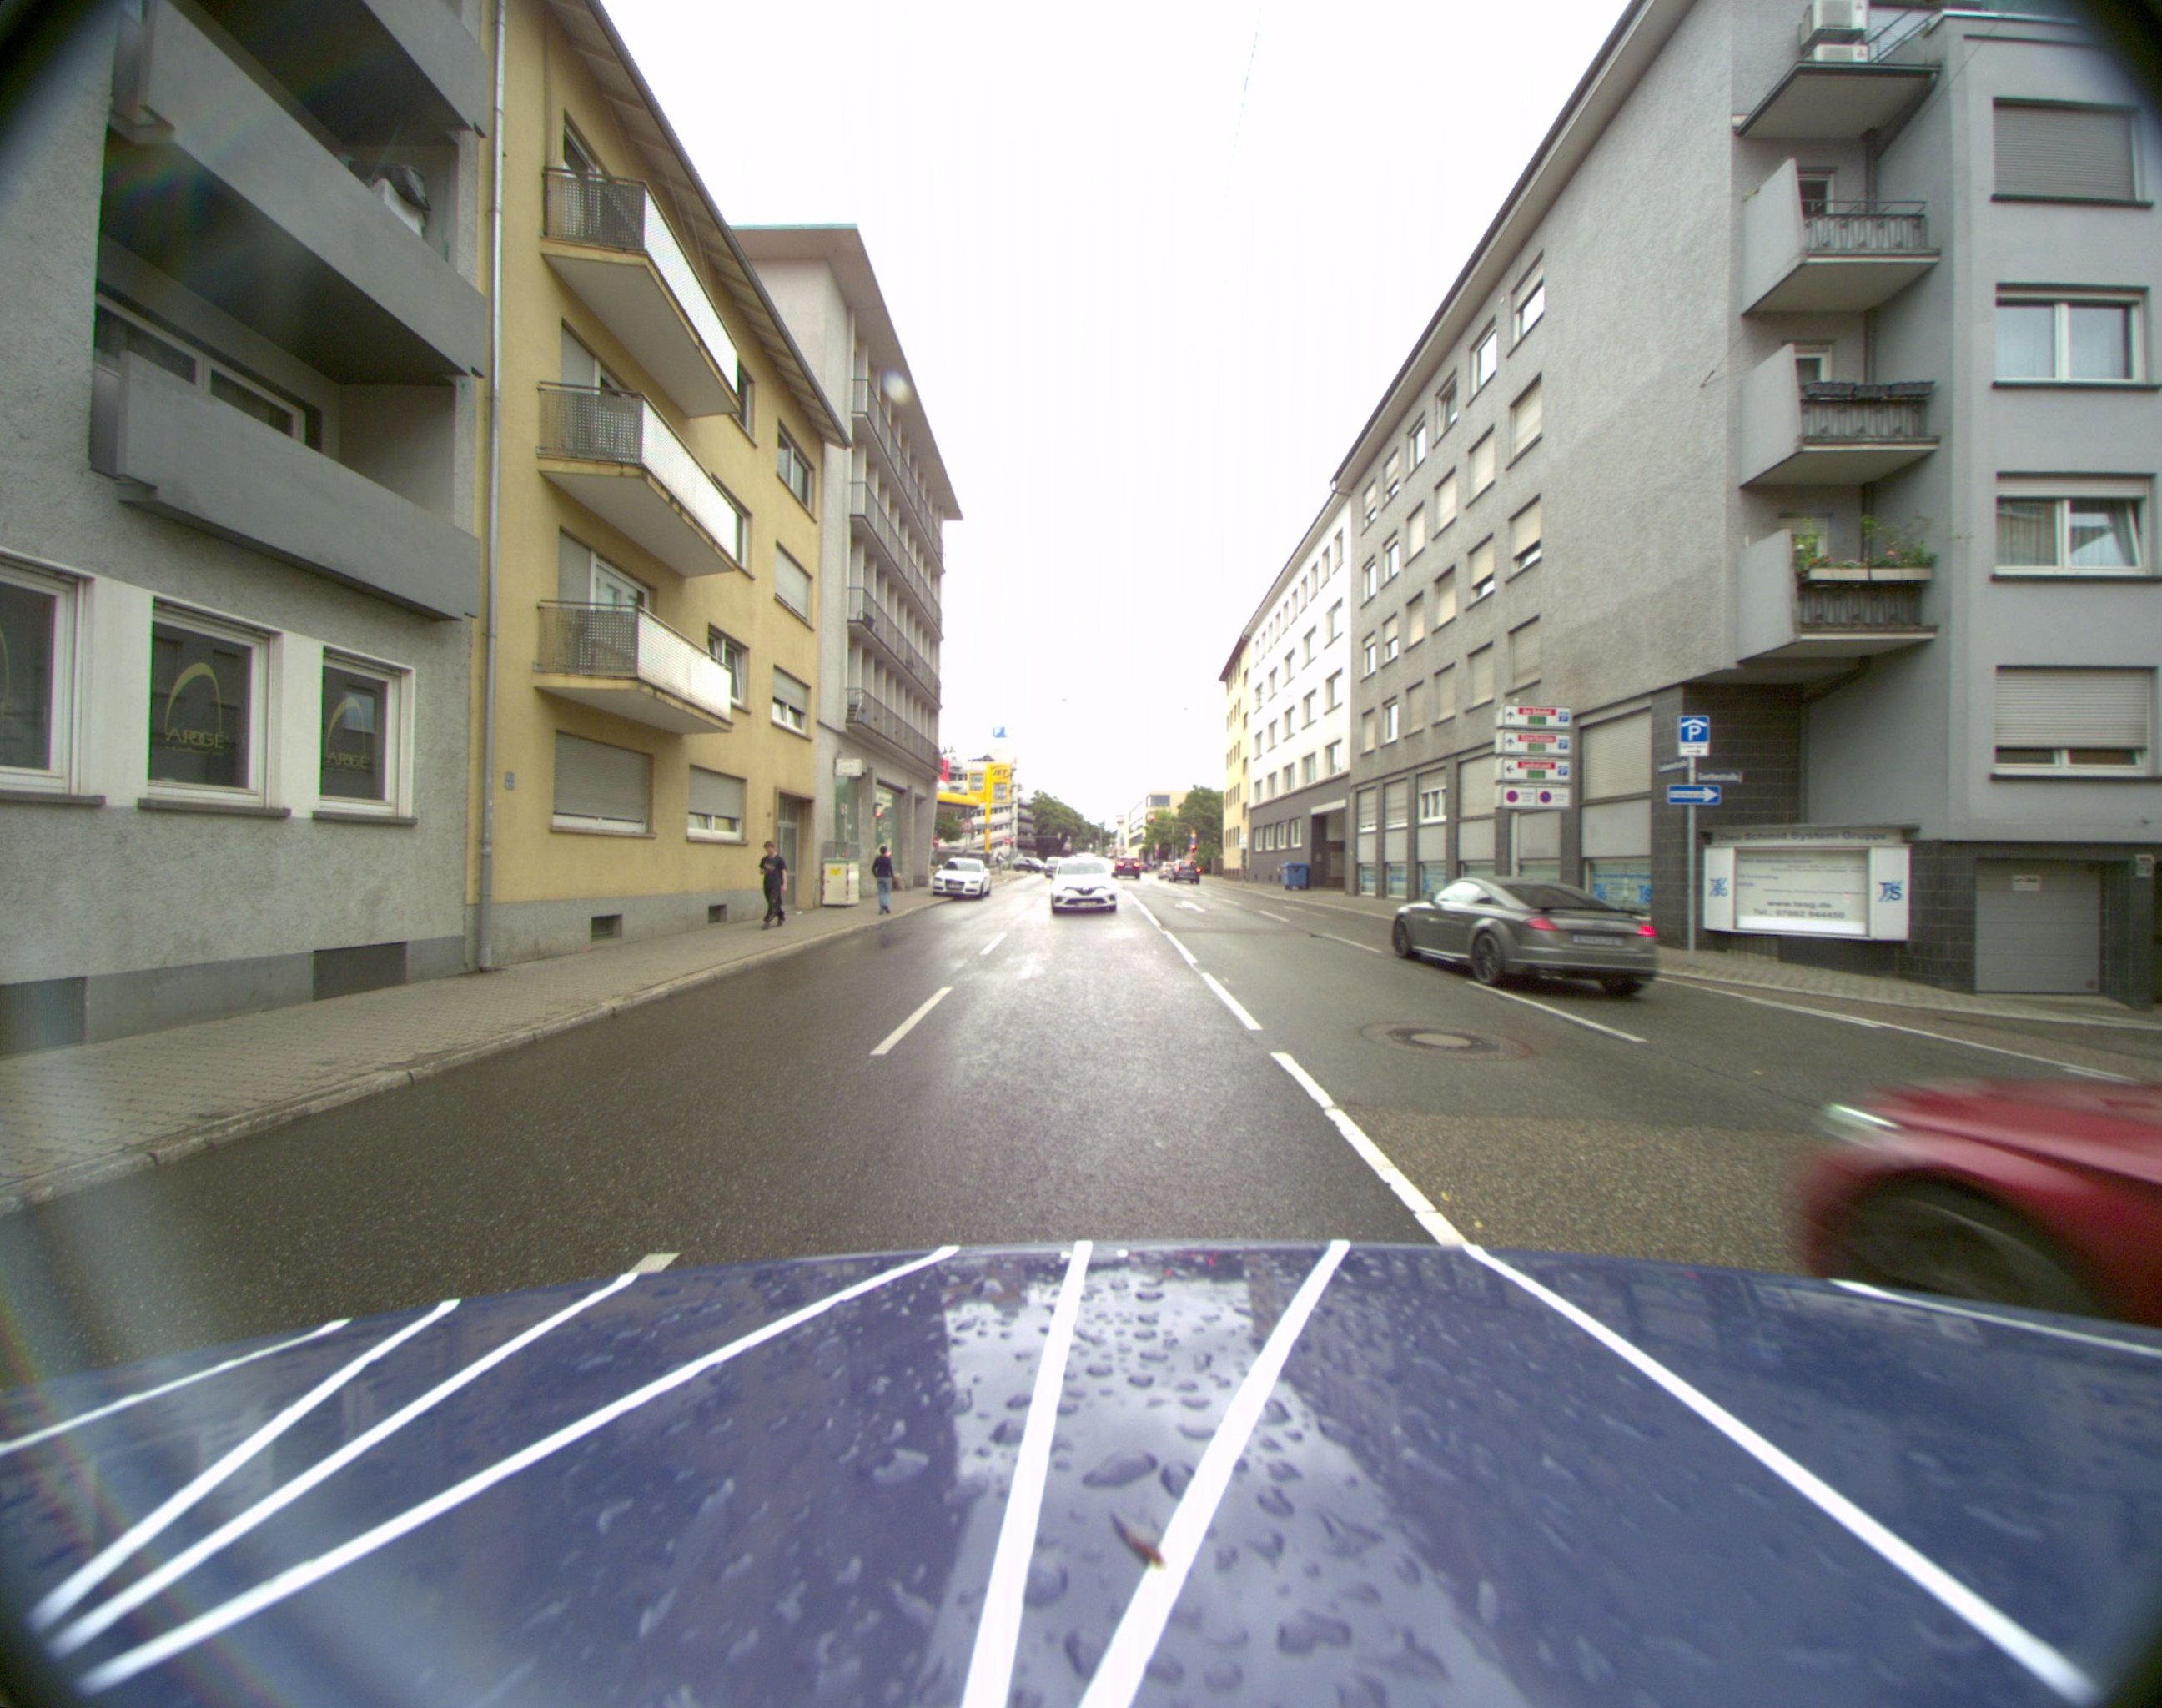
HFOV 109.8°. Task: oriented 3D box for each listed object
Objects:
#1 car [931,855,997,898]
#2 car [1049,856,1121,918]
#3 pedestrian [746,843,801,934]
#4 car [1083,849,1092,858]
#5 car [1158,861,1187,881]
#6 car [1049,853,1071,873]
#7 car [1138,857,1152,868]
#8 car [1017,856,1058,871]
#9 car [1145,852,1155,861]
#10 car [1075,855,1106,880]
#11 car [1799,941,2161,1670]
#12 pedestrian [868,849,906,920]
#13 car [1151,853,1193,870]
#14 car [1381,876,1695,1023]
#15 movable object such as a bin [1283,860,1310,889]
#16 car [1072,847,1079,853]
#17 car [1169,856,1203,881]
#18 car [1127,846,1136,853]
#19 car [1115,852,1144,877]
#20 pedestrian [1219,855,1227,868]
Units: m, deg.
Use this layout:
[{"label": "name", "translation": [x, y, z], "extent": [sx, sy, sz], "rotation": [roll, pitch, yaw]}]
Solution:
[{"label": "car", "translation": [-4.369, 0.805, 29.058], "extent": [1.803, 1.427, 4.166], "rotation": [1, 0, 1]}, {"label": "car", "translation": [0.121, 0.842, 21.313], "extent": [1.771, 1.465, 4.000], "rotation": [-2, 0, 0]}, {"label": "pedestrian", "translation": [-6.131, 0.667, 15.190], "extent": [0.679, 1.745, 0.888], "rotation": [1, 1, 4]}, {"label": "car", "translation": [1.553, -0.071, 178.854], "extent": [1.998, 2.002, 3.999], "rotation": [-2, 1, 1]}, {"label": "car", "translation": [7.414, 1.360, 62.127], "extent": [1.883, 1.580, 4.373], "rotation": [0, 0, 1]}, {"label": "car", "translation": [-1.890, 0.783, 68.812], "extent": [1.771, 1.638, 4.000], "rotation": [2, 0, 0]}, {"label": "car", "translation": [9.589, 1.298, 114.389], "extent": [1.883, 1.580, 4.373], "rotation": [0, 0, 1]}, {"label": "car", "translation": [-4.436, 0.956, 77.447], "extent": [3.989, 1.436, 1.775], "rotation": [-2, 1, 42]}, {"label": "car", "translation": [15.446, 0.604, 170.047], "extent": [1.998, 1.863, 3.999], "rotation": [-2, 1, 0]}, {"label": "car", "translation": [0.691, 0.945, 55.484], "extent": [2.132, 1.711, 4.817], "rotation": [2, 0, 0]}, {"label": "car", "translation": [3.050, 0.993, 0.136], "extent": [1.729, 1.382, 4.339], "rotation": [2, 0, 1]}, {"label": "pedestrian", "translation": [-5.041, 0.771, 19.789], "extent": [0.644, 1.768, 1.056], "rotation": [3, 1, 0]}, {"label": "car", "translation": [9.284, 0.777, 77.626], "extent": [3.992, 1.485, 1.774], "rotation": [-2, 1, 17]}, {"label": "car", "translation": [5.689, 1.087, 10.131], "extent": [1.772, 1.338, 3.888], "rotation": [4, 0, 0]}, {"label": "movable object such as a bin", "translation": [10.426, 0.997, 36.789], "extent": [0.946, 1.325, 1.096], "rotation": [-3, 1, 1]}, {"label": "car", "translation": [-1.892, -1.325, 257.720], "extent": [1.998, 1.827, 3.999], "rotation": [-2, 1, 1]}, {"label": "car", "translation": [6.988, 0.963, 50.973], "extent": [1.707, 1.498, 4.159], "rotation": [3, 0, 0]}, {"label": "car", "translation": [12.849, -1.091, 192.885], "extent": [1.998, 1.683, 4.000], "rotation": [-2, 1, 2]}, {"label": "car", "translation": [3.644, 0.781, 57.274], "extent": [1.841, 1.717, 4.474], "rotation": [3, 0, 0]}, {"label": "pedestrian", "translation": [13.074, 0.680, 69.849], "extent": [0.582, 1.143, 0.407], "rotation": [3, 1, 2]}]
